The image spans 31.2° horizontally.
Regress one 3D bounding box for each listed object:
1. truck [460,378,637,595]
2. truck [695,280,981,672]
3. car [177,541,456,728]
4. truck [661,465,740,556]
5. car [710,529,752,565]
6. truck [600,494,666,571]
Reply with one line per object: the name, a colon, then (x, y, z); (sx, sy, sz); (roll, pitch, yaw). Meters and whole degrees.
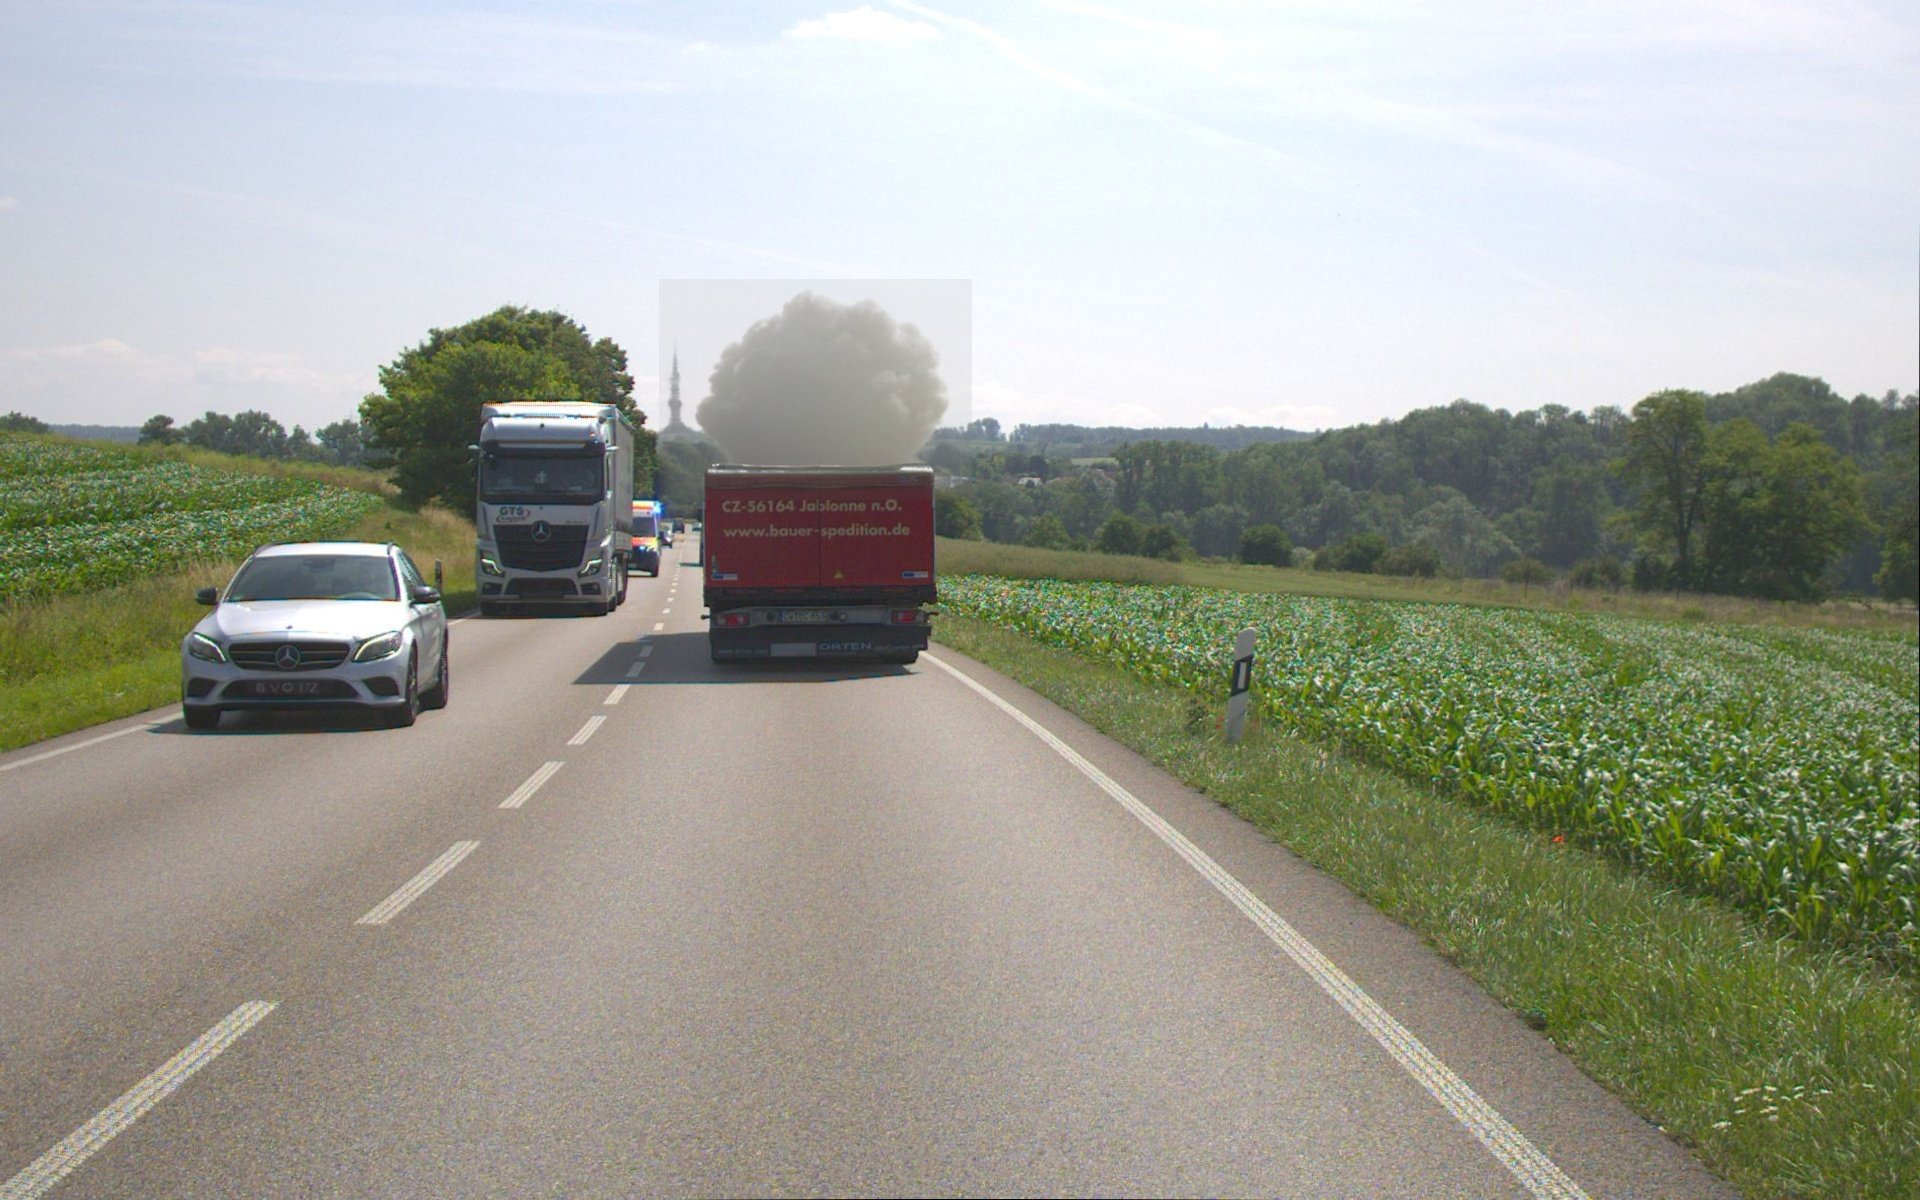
truck: (-8.351, -2.247, 71.541); (2.826, 3.979, 16.536); (0, 1, -4)
truck: (-1.522, -1.379, 41.502); (3.094, 4.248, 8.315); (0, 0, -3)
car: (-5.298, 0.235, 28.760); (1.728, 1.435, 4.177); (0, 1, -3)
truck: (-12.982, -4.449, 173.164); (3.640, 4.277, 11.986); (0, 0, -3)
car: (-9.596, -2.222, 144.363); (1.581, 1.496, 3.877); (1, 1, -1)
truck: (-11.588, -2.389, 122.140); (2.207, 2.663, 6.418); (0, 1, -5)
